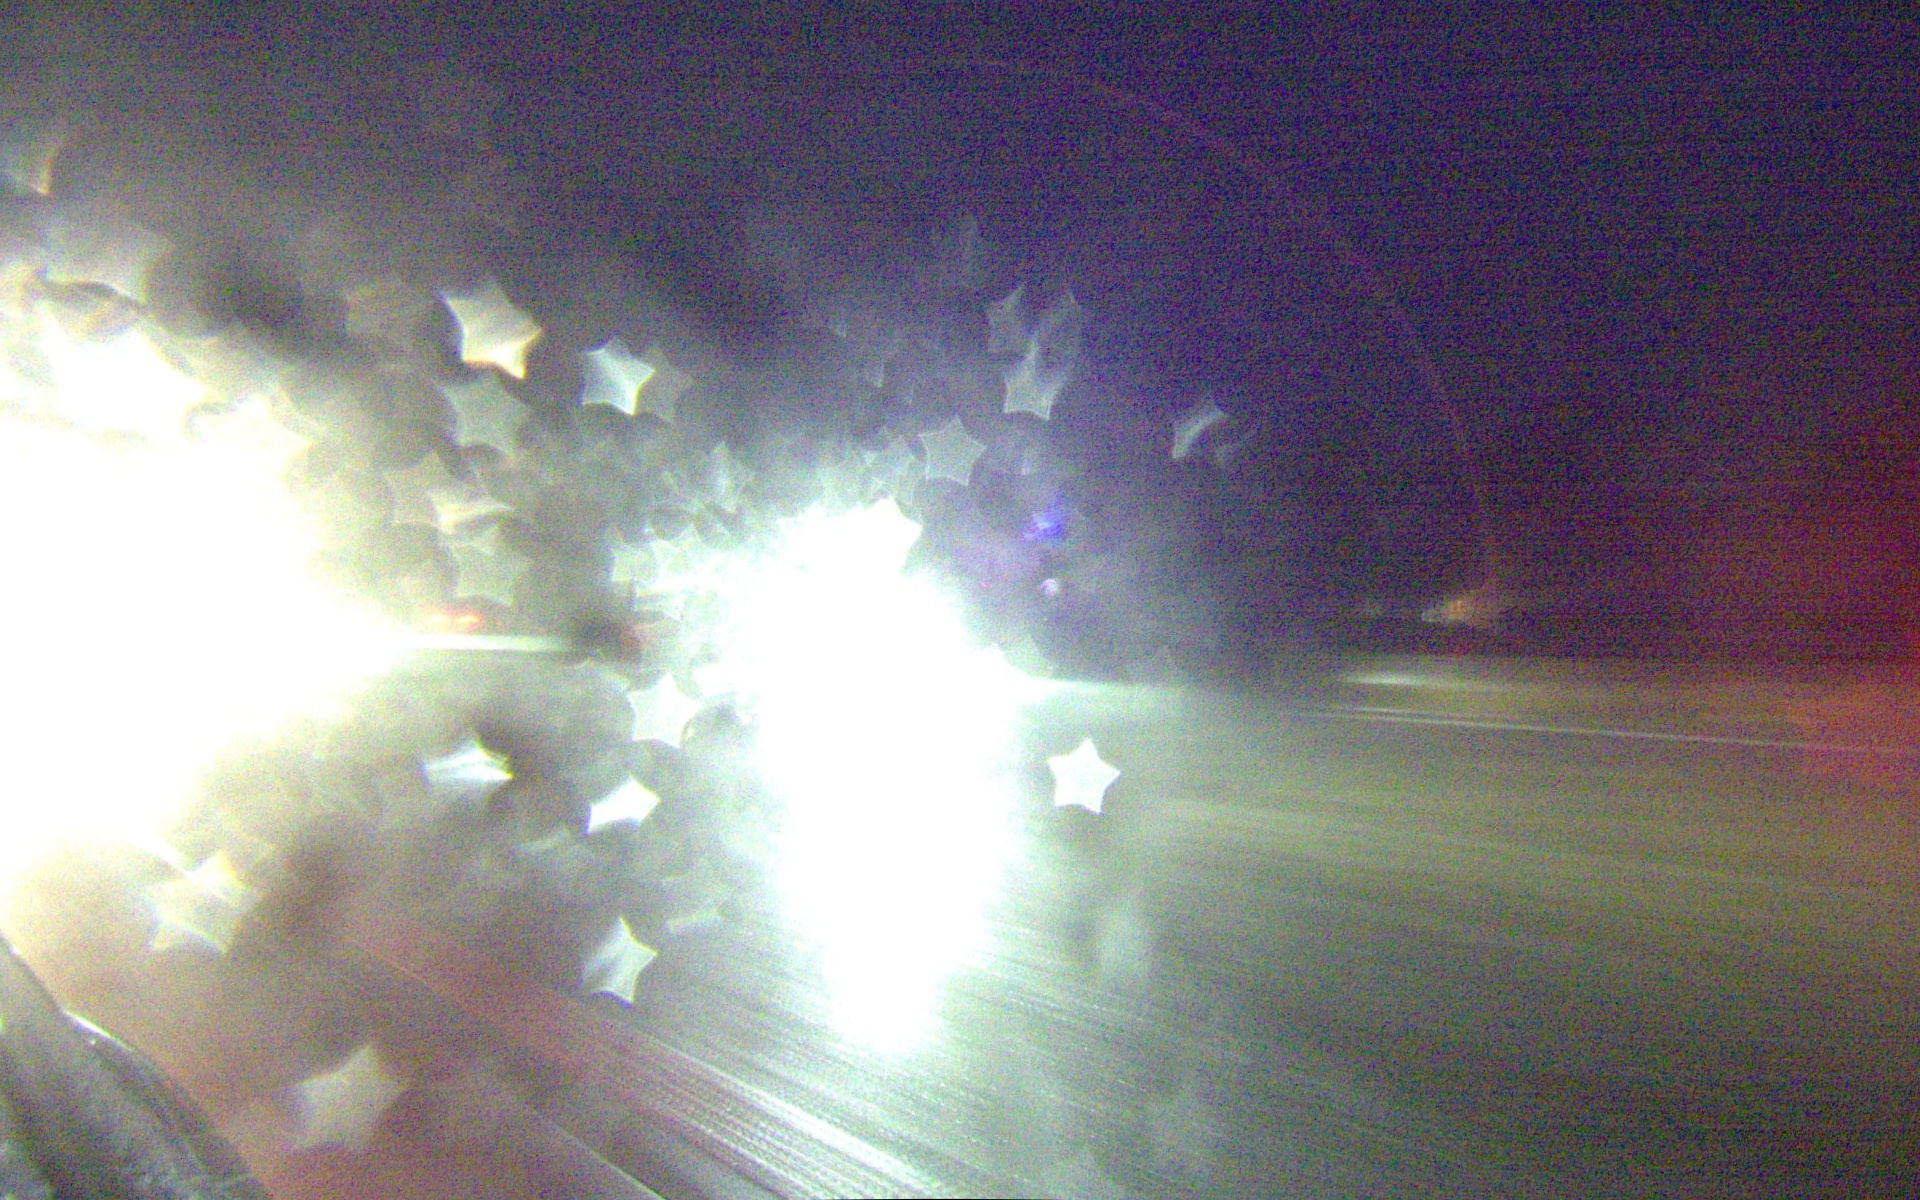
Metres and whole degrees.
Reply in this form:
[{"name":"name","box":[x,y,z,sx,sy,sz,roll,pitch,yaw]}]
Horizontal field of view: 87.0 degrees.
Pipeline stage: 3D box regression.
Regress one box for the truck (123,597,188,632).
[{"name":"truck","box":[-98.807,1.770,124.142,17.177,3.917,3.462,-1,0,42]}]

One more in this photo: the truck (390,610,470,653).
[{"name":"truck","box":[-31.209,1.789,59.512,6.436,2.365,1.973,-1,0,41]}]

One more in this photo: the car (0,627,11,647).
[{"name":"car","box":[-92.357,3.583,96.884,4.000,1.821,1.972,-1,0,43]}]

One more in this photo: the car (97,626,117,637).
[{"name":"car","box":[-136.188,4.992,161.562,4.458,1.569,1.860,-1,0,41]}]

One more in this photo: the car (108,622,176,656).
[{"name":"car","box":[-41.225,1.927,50.955,4.587,1.572,1.972,-1,0,42]}]

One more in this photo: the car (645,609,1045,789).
[{"name":"car","box":[-1.311,0.852,10.505,3.999,1.452,1.972,-1,0,42]}]
